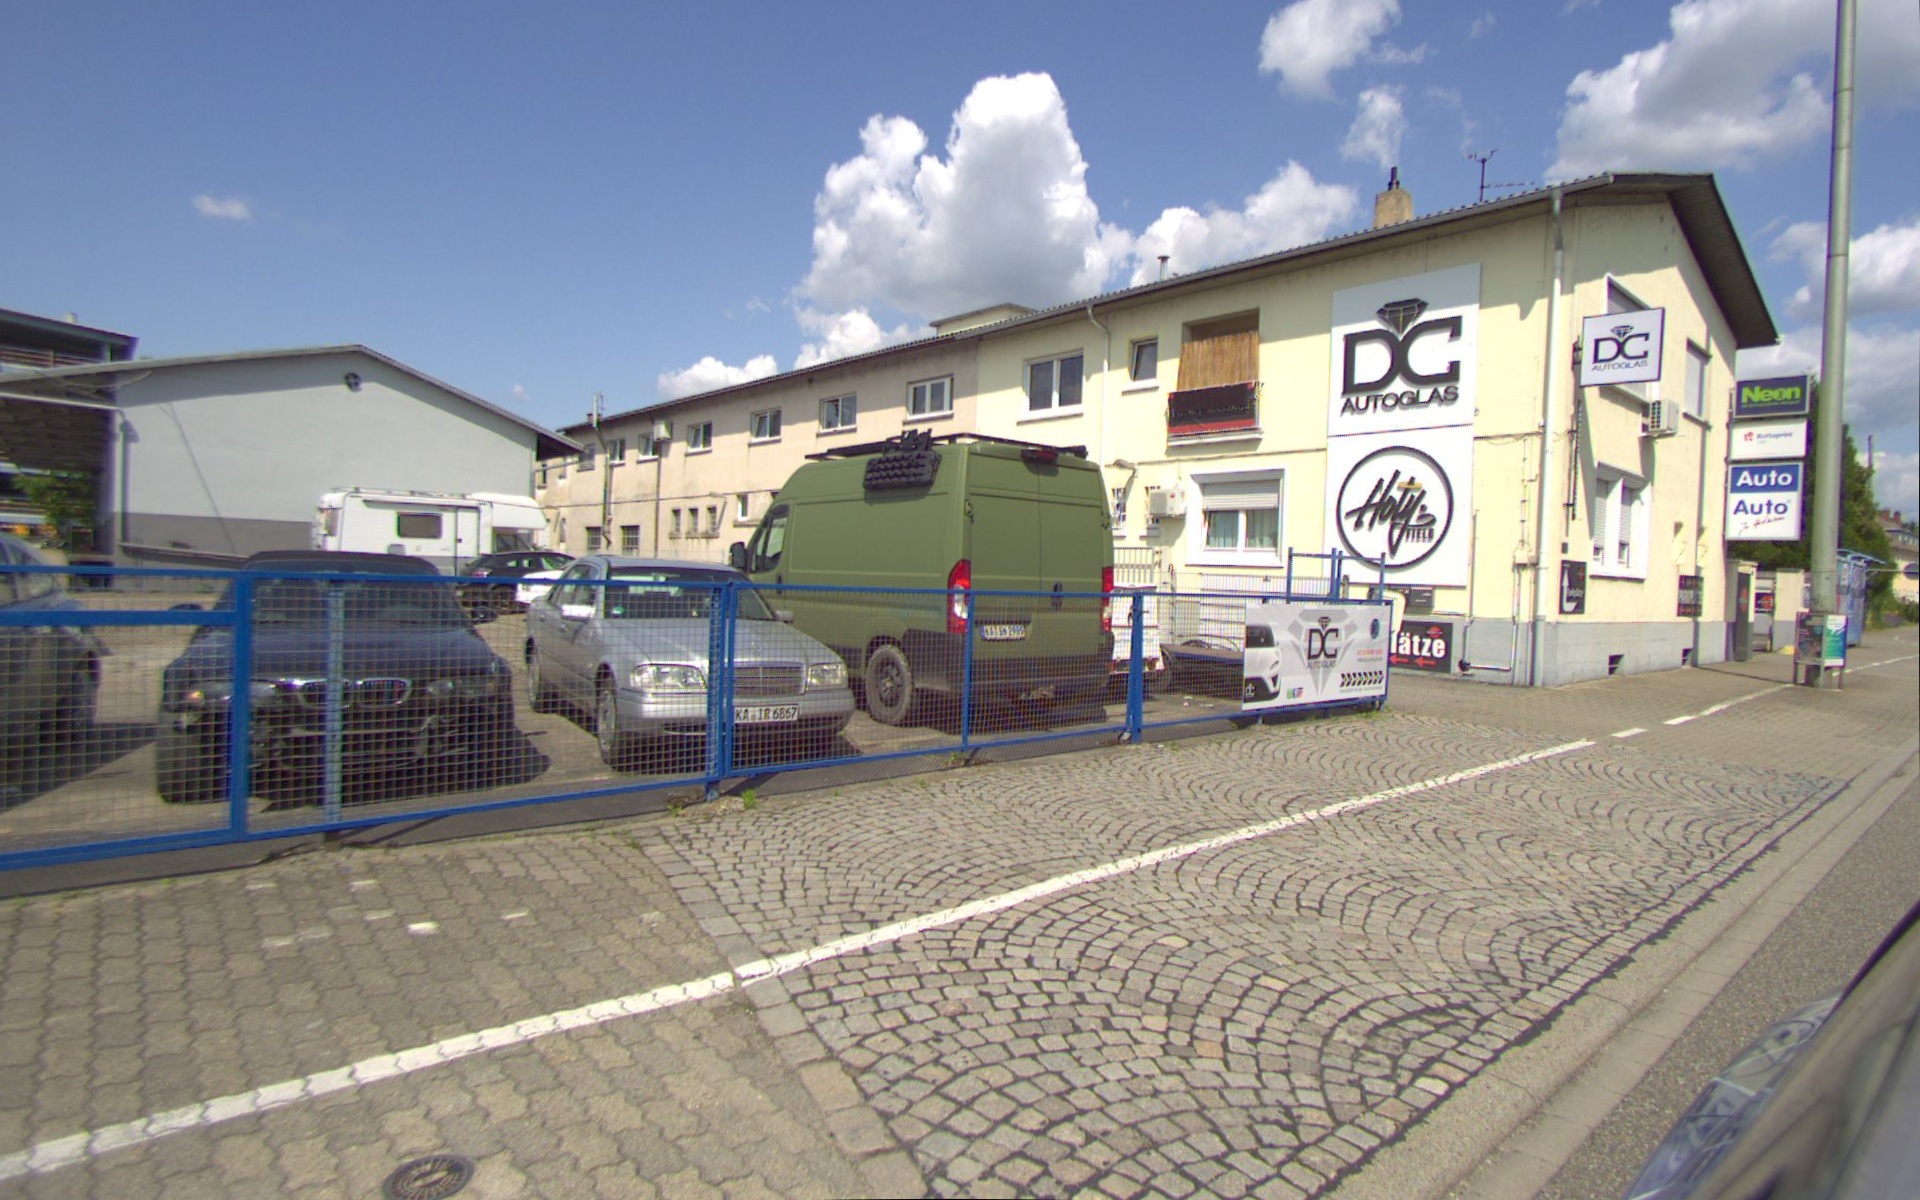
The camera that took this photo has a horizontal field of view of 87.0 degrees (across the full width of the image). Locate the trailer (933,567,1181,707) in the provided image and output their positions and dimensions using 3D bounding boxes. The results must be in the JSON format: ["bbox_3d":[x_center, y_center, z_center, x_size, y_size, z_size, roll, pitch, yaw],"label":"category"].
[{"bbox_3d":[1.067,0.352,11.986,1.280,1.349,2.789,0,3,-40],"label":"trailer"}]

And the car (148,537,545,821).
[{"bbox_3d":[-4.234,0.297,7.053,1.785,1.372,4.004,1,2,-33],"label":"car"}]

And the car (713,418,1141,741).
[{"bbox_3d":[-0.586,-0.299,10.613,2.112,2.604,4.549,0,3,-39],"label":"car"}]

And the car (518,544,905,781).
[{"bbox_3d":[-2.308,0.294,8.416,1.785,1.449,4.200,0,2,-34],"label":"car"}]

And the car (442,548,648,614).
[{"bbox_3d":[-9.790,-0.456,24.040,4.110,1.405,1.925,0,3,-43],"label":"car"}]

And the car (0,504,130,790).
[{"bbox_3d":[-5.931,0.234,5.152,1.714,1.515,4.008,1,2,-26],"label":"car"}]

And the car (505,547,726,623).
[{"bbox_3d":[-7.278,-0.339,21.626,4.110,1.433,1.756,0,3,-43],"label":"car"}]

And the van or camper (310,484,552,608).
[{"bbox_3d":[-13.247,-1.313,25.543,4.979,2.807,2.310,0,3,-44],"label":"van or camper"}]
